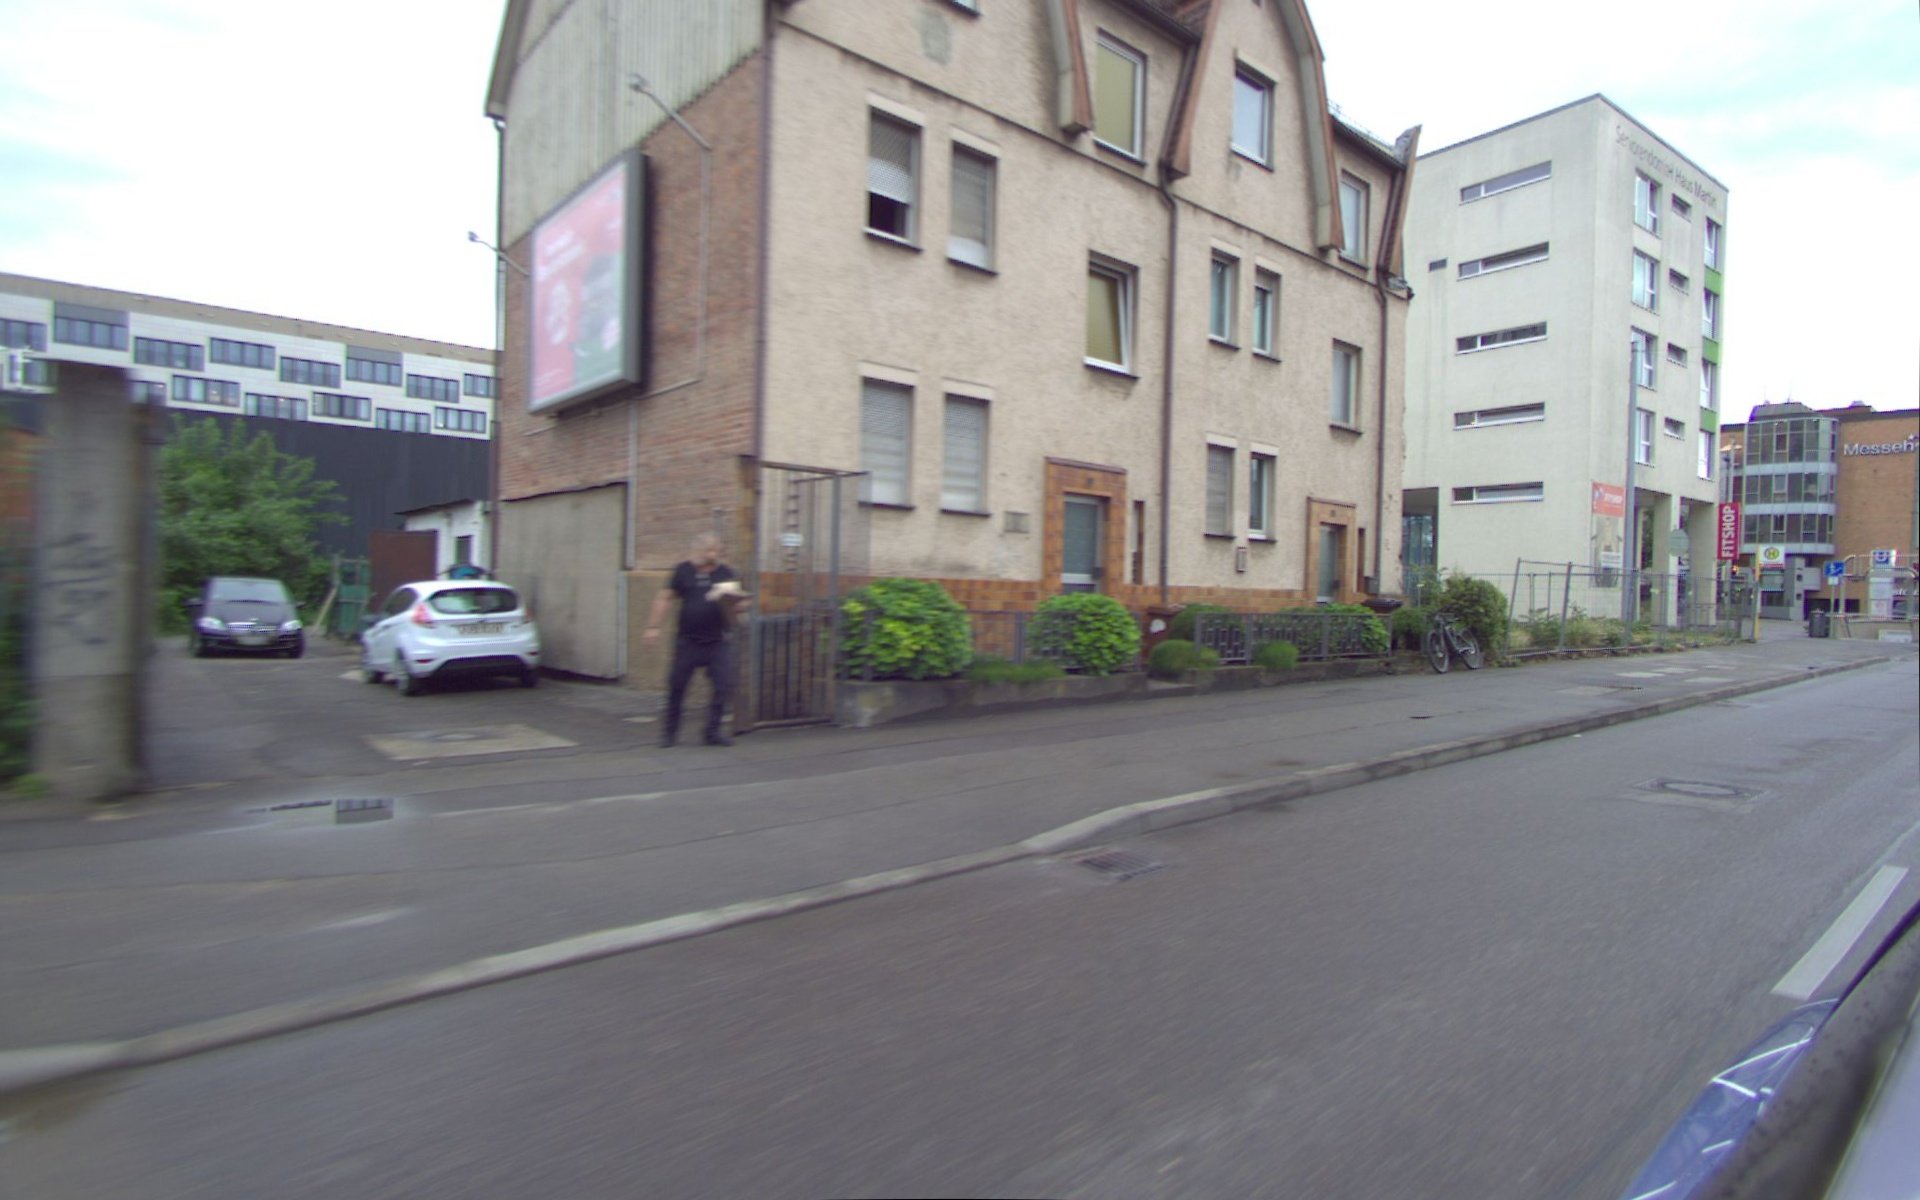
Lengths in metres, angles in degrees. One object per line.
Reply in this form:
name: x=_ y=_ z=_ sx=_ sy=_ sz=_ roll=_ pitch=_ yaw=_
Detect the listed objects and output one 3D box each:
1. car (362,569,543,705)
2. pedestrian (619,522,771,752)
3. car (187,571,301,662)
car: x=-7.280 y=0.390 z=14.336 sx=1.597 sy=1.465 sz=4.000 roll=-2 pitch=5 yaw=-37
pedestrian: x=-2.167 y=0.291 z=8.335 sx=0.901 sy=1.786 sz=0.763 roll=-2 pitch=0 yaw=17
car: x=-14.966 y=0.303 z=21.192 sx=1.770 sy=1.683 sz=3.999 roll=-2 pitch=1 yaw=-35
